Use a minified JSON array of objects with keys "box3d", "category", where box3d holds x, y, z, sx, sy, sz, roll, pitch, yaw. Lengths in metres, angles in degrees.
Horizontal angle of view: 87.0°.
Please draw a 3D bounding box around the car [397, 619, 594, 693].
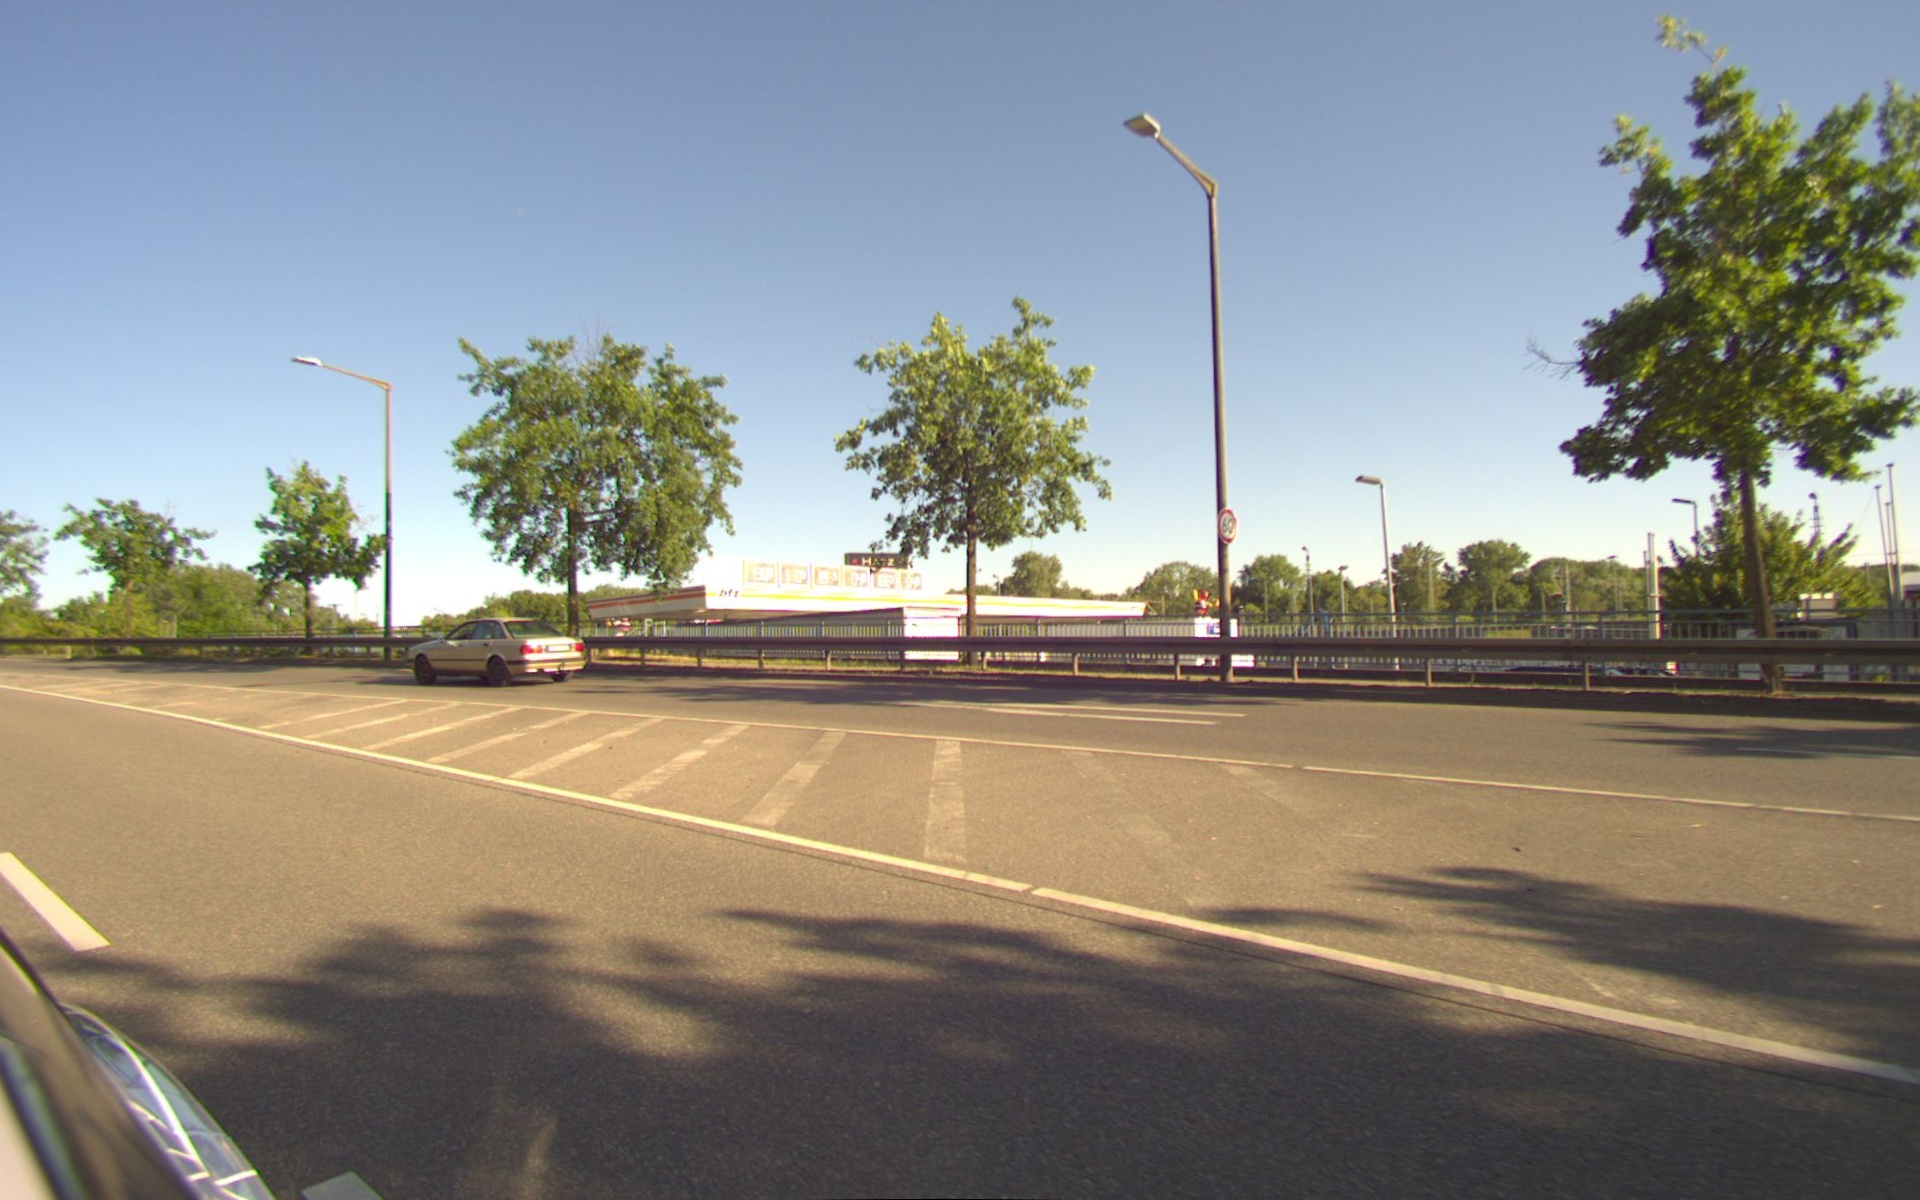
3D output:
[{"box3d":[-9.933,1.152,21.536,4.483,1.396,1.716,-2,-1,34],"category":"car"}]
